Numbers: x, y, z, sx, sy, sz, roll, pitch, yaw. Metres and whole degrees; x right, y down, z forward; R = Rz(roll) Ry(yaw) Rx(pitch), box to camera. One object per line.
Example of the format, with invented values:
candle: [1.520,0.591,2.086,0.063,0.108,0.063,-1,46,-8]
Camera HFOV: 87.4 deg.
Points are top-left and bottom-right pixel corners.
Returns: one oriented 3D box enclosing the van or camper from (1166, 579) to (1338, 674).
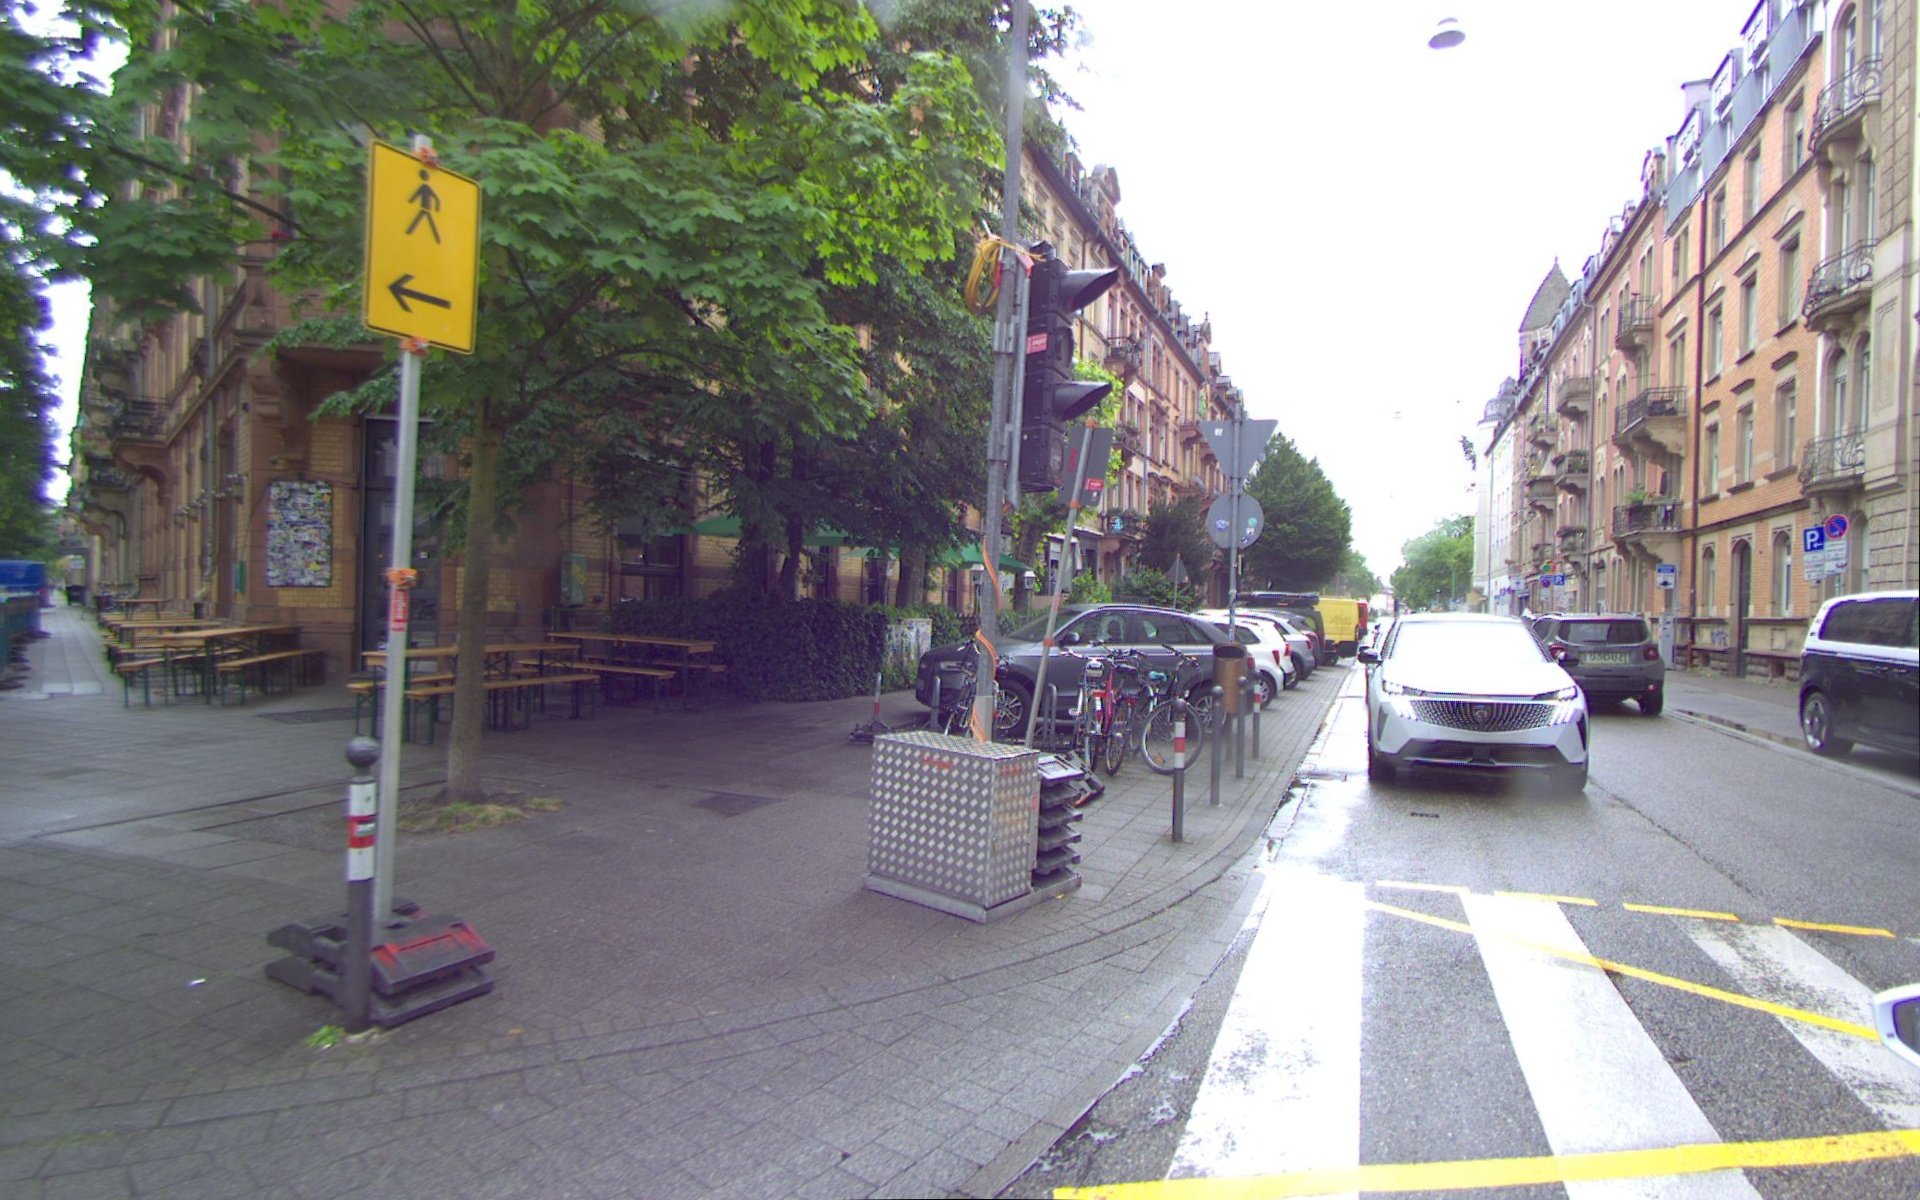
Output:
van or camper: [7.967,0.736,27.602,4.011,2.268,1.934,4,-1,-9]

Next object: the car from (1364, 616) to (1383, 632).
car: [41.728,2.445,101.394,1.642,1.580,4.003,1,-1,20]

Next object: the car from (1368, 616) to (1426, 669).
car: [16.146,1.509,37.190,1.767,1.514,4.580,5,3,23]

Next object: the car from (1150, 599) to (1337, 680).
car: [7.031,0.979,25.039,4.068,1.683,1.796,4,-1,-13]

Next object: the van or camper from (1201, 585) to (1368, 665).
van or camper: [10.607,0.808,33.011,4.642,2.298,2.181,3,1,-10]

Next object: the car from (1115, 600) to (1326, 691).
car: [5.716,0.979,22.165,4.068,1.684,1.796,4,-1,-13]

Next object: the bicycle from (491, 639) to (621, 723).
bicycle: [-4.410,0.868,10.957,1.367,0.826,0.405,1,0,19]

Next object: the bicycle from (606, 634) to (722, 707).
bicycle: [-3.641,0.853,12.366,1.367,0.826,0.405,1,0,19]

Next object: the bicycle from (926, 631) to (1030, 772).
bicycle: [0.122,0.907,9.635,0.762,1.158,1.930,2,0,-5]

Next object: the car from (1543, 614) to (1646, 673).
car: [17.762,1.235,28.292,1.758,1.485,4.482,1,-2,23]

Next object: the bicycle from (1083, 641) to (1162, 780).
bicycle: [1.542,1.012,9.735,0.392,1.158,1.682,2,0,-2]

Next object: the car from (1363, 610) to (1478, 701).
car: [8.598,1.118,19.010,1.766,1.513,4.139,-1,-5,22]

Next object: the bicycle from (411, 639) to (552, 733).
bicycle: [-4.759,0.837,9.986,1.367,0.826,0.405,1,0,19]

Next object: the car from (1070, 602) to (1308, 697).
car: [4.380,0.949,19.452,4.067,1.513,1.797,4,-1,-12]

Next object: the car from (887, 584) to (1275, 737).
car: [1.432,0.756,12.615,4.382,1.584,1.995,3,-2,-13]

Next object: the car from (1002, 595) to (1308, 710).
car: [3.237,0.864,17.082,4.642,1.584,1.996,3,1,-11]

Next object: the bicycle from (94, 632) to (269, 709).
bicycle: [-8.801,0.800,11.393,1.519,0.826,0.405,2,0,-12]

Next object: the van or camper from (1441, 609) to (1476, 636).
van or camper: [36.857,1.644,74.369,1.989,1.916,5.053,0,-1,22]

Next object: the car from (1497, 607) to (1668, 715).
car: [11.133,1.007,18.311,1.868,1.693,4.504,0,-1,22]

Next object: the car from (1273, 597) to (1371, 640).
car: [23.117,1.159,64.290,5.467,2.575,2.227,1,0,-5]

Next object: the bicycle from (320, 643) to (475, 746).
bicycle: [-5.106,0.837,9.118,1.367,0.826,0.405,1,0,19]

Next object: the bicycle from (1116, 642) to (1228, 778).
bicycle: [2.052,1.036,9.933,0.576,1.158,1.681,2,0,-5]

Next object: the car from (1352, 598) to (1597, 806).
car: [5.435,0.913,10.810,1.830,1.682,5.003,-1,-2,26]

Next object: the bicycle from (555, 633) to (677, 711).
bicycle: [-4.004,0.821,11.692,1.367,0.826,0.405,1,0,19]

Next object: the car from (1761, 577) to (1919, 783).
car: [10.407,0.775,10.197,1.961,1.964,5.230,-1,-1,20]

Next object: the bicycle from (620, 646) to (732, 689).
bicycle: [-3.591,0.848,12.708,1.367,0.459,0.405,1,-1,19]

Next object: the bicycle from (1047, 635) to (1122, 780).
bicycle: [1.170,0.974,9.715,0.392,1.201,1.877,2,0,-2]
